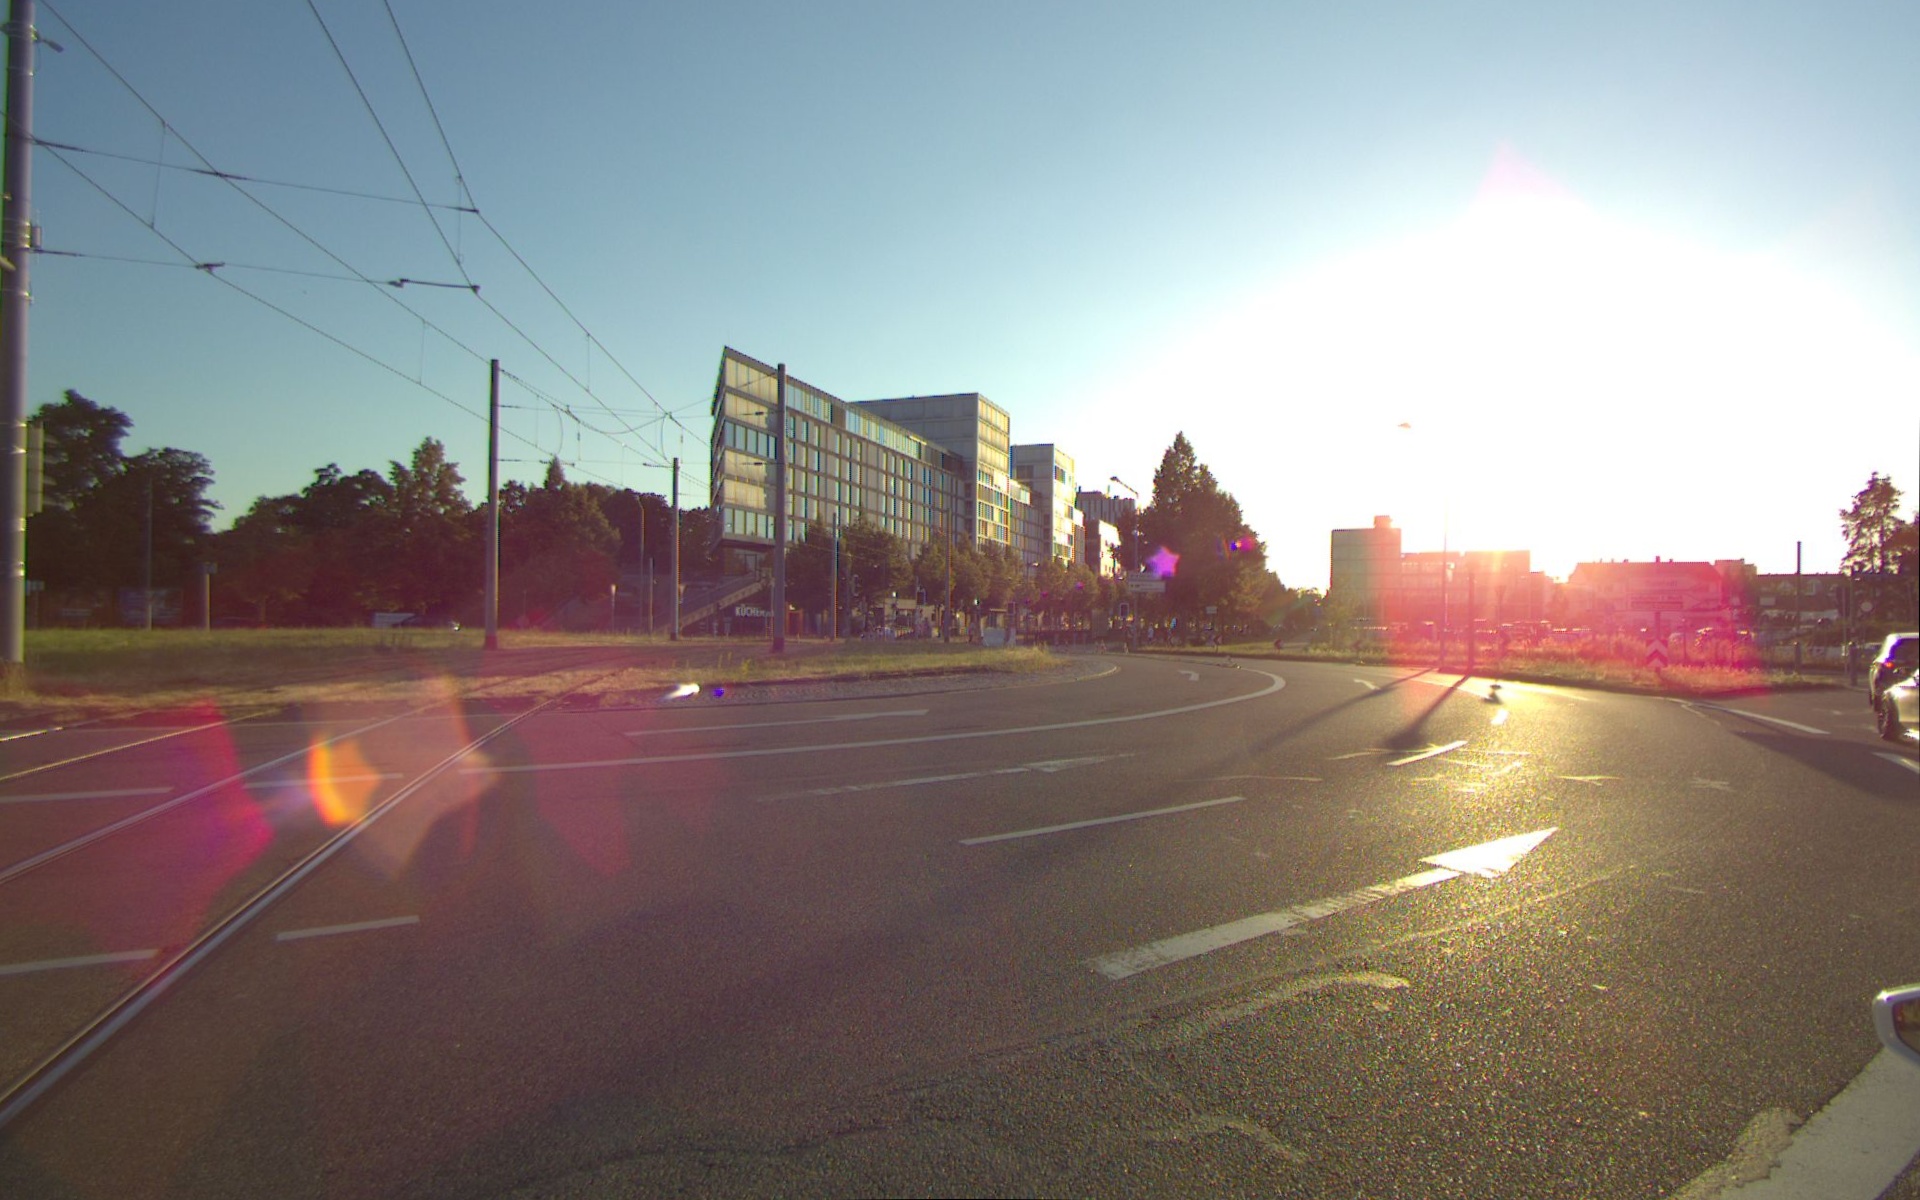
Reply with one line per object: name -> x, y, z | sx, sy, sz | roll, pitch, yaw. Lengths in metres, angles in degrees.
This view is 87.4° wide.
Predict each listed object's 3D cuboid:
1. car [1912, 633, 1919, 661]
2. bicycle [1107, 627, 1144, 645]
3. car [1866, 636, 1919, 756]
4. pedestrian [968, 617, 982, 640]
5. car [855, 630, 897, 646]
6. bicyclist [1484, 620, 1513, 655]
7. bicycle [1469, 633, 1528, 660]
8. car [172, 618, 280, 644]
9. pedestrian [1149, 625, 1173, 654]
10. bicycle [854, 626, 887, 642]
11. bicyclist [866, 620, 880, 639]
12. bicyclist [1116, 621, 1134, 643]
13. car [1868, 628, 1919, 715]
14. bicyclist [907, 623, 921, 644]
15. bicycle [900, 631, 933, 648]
car -> 61.065, 2.946, 61.900 | 1.960, 1.728, 4.001 | 0, -2, 18
bicycle -> 11.006, 2.397, 66.981 | 2.372, 1.182, 0.751 | 0, -2, 38
car -> 12.987, 1.218, 12.469 | 1.925, 1.446, 4.417 | 2, -1, 34
pedestrian -> 1.111, 2.151, 76.005 | 0.870, 1.730, 0.795 | 1, -1, 14
car -> -8.150, 3.722, 98.434 | 1.961, 1.565, 5.201 | 0, -2, 22
bicyclist -> 25.544, 1.772, 47.661 | 0.747, 1.634, 0.968 | 2, -1, -35
bicycle -> 25.542, 2.190, 47.678 | 0.747, 1.182, 2.386 | 2, -2, -35
car -> -41.769, 1.764, 57.293 | 4.521, 1.451, 1.938 | 0, -1, -17
pedestrian -> 13.058, 2.538, 65.293 | 1.145, 1.851, 0.974 | 0, -2, 42
bicycle -> -6.740, 2.557, 76.000 | 2.360, 1.182, 0.755 | 1, -1, 11
bicyclist -> -6.601, 2.250, 75.985 | 0.861, 1.411, 0.755 | 1, -1, 11
bicyclist -> 11.009, 2.125, 66.962 | 0.963, 1.412, 0.752 | 0, -1, 38
car -> 20.133, 1.516, 20.749 | 1.930, 1.623, 4.055 | 5, 0, 43
bicyclist -> -3.442, 2.527, 75.284 | 0.959, 1.545, 0.755 | 1, -1, 8
bicycle -> -3.271, 2.959, 75.210 | 2.360, 1.182, 0.755 | 1, -1, 8
